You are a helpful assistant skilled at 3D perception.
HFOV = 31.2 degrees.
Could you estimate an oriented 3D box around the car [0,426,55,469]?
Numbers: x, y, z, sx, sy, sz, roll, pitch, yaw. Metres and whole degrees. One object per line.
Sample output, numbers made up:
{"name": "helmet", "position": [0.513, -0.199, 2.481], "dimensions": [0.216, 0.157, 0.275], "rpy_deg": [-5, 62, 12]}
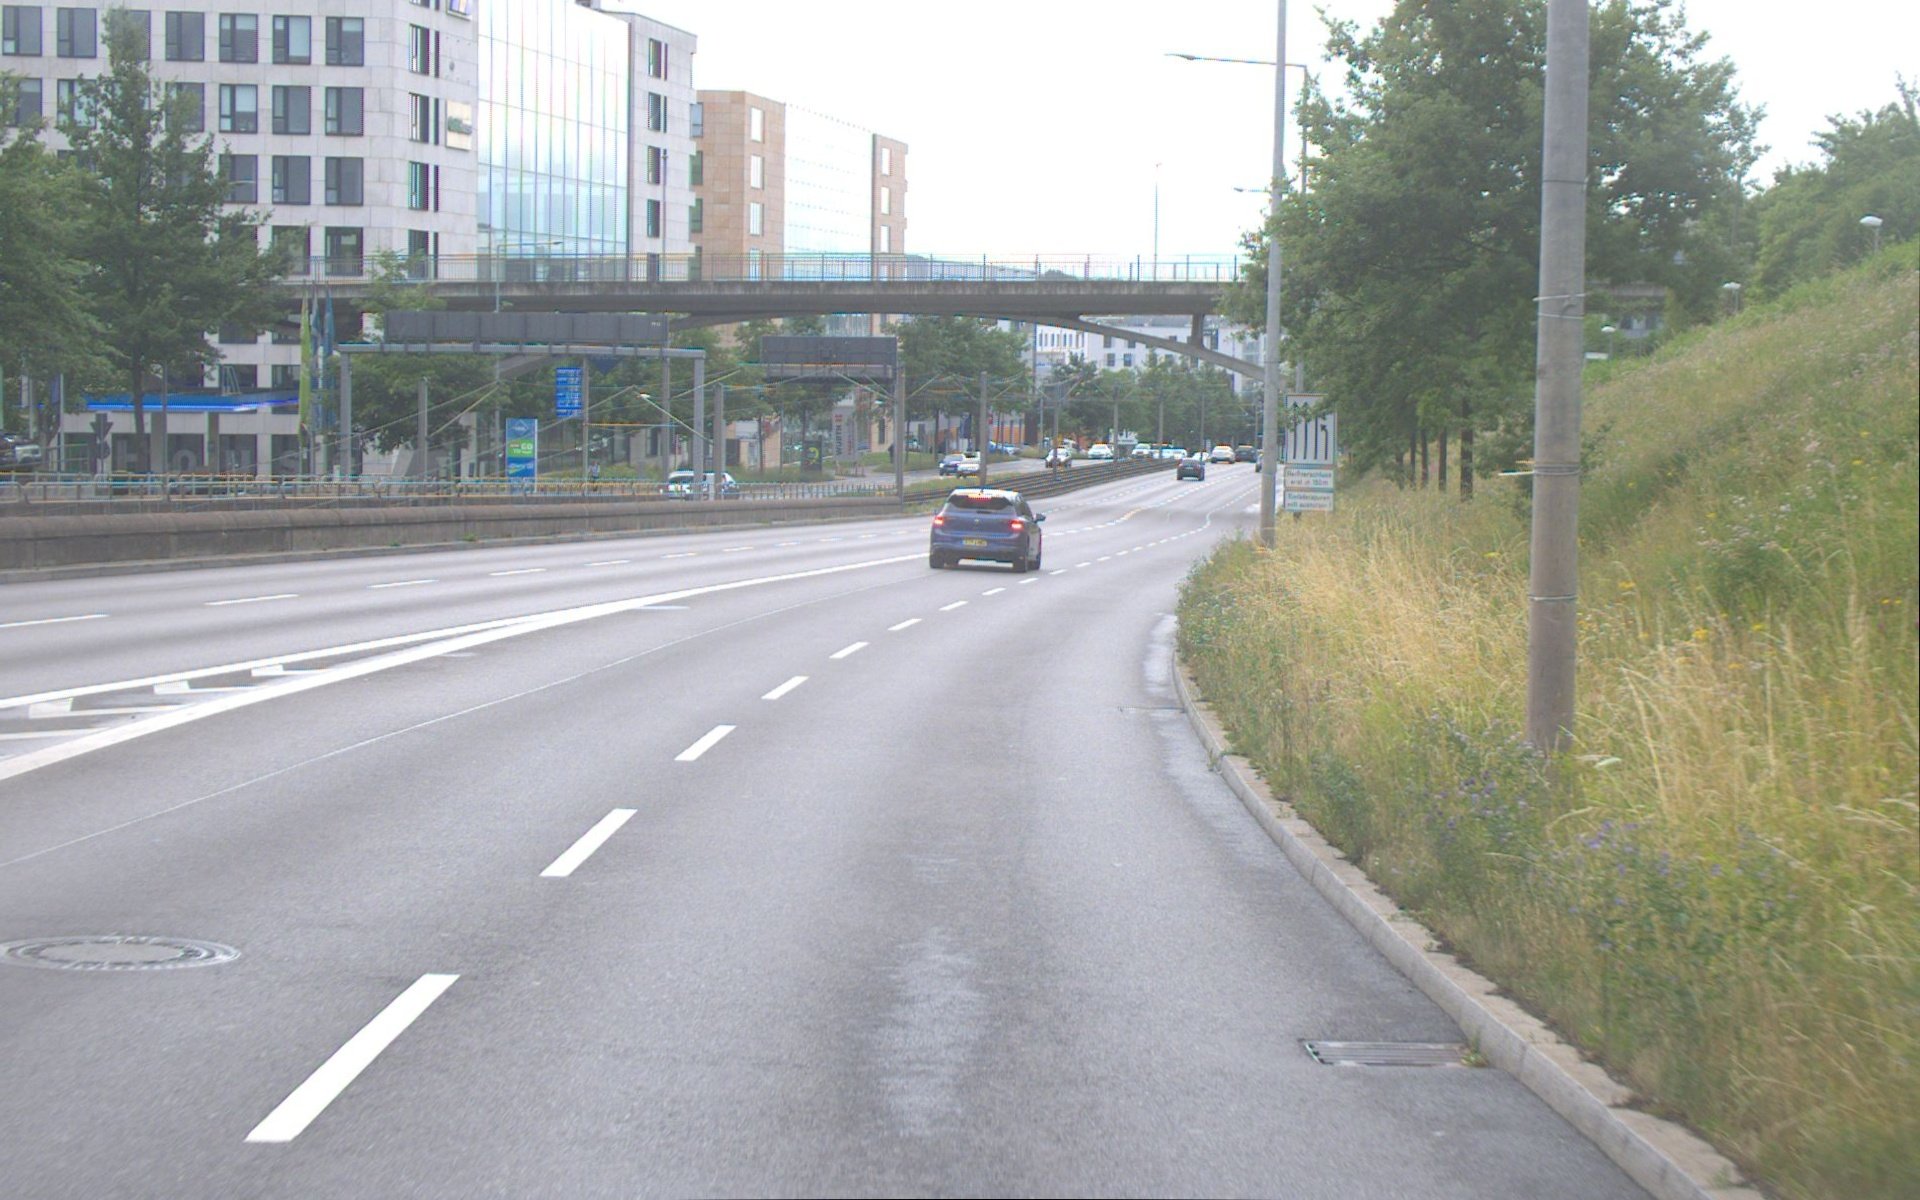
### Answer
{"name": "car", "position": [-33.310, -5.307, 117.797], "dimensions": [3.988, 1.349, 1.849], "rpy_deg": [4, 3, 9]}

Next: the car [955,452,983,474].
{"name": "car", "position": [0.596, -9.408, 235.688], "dimensions": [1.518, 1.415, 3.478], "rpy_deg": [2, 3, 6]}

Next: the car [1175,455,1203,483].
{"name": "car", "position": [16.328, -9.361, 245.335], "dimensions": [1.863, 1.743, 4.001], "rpy_deg": [3, 5, 3]}

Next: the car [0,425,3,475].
{"name": "car", "position": [-33.793, -5.057, 112.993], "dimensions": [3.988, 1.645, 2.000], "rpy_deg": [4, 3, 9]}

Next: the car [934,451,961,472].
{"name": "car", "position": [-0.913, -10.020, 248.250], "dimensions": [1.518, 1.415, 3.478], "rpy_deg": [2, 3, 6]}

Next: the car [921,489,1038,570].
{"name": "car", "position": [0.383, -1.294, 62.492], "dimensions": [1.749, 1.415, 3.477], "rpy_deg": [1, 2, 6]}
